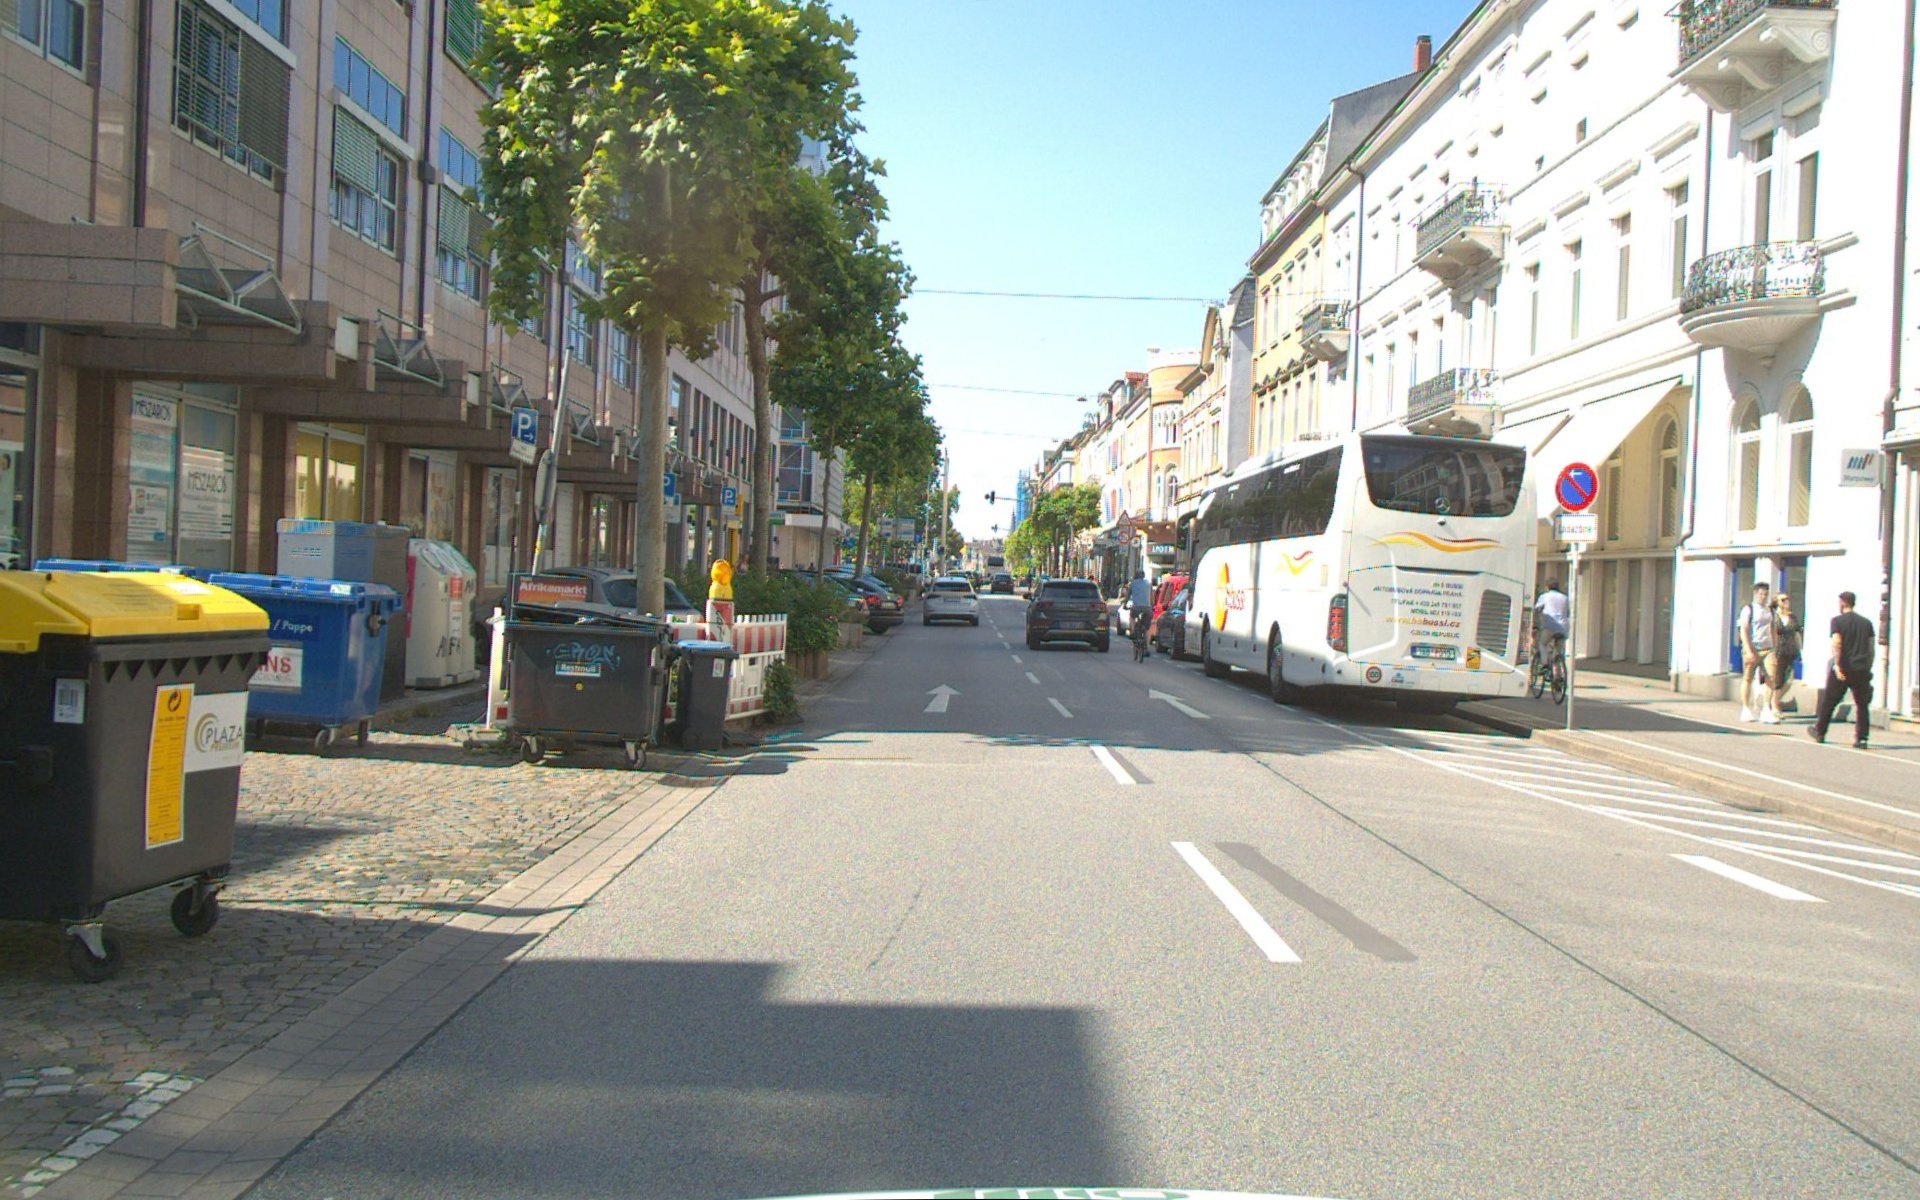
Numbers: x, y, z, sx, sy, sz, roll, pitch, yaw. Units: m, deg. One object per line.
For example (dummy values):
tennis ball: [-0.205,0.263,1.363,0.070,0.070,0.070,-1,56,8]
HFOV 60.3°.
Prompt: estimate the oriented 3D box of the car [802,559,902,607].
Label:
car: [-4.700,-0.746,72.140,3.911,1.594,1.698,7,1,25]

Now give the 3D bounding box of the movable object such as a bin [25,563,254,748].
movable object such as a bin: [-6.444,0.408,13.064,1.184,1.322,1.127,4,2,0]

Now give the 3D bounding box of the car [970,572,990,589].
car: [1.939,-1.890,159.011,1.825,1.466,3.999,1,-1,-1]

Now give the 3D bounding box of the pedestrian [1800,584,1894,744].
pedestrian: [10.032,0.714,18.735,0.607,1.750,0.835,2,-1,2]

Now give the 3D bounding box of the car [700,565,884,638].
car: [-4.258,0.013,41.429,4.675,1.559,1.978,4,2,43]

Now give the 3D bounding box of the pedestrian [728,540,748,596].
pedestrian: [-6.838,-0.981,50.924,0.555,1.686,0.635,1,1,-9]

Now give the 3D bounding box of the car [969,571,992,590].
car: [1.724,-1.617,140.036,1.825,1.466,3.999,1,-1,-1]

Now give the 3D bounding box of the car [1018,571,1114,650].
car: [2.333,0.215,37.270,1.796,1.553,4.000,4,0,0]

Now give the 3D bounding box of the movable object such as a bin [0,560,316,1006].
movable object such as a bin: [-3.440,0.617,6.483,1.100,1.475,1.440,4,2,6]

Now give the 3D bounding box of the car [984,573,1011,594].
car: [2.781,-1.211,122.229,1.825,1.466,4.000,2,1,-1]

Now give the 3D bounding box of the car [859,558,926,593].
car: [-4.872,-1.781,119.330,4.640,2.037,1.931,6,1,40]

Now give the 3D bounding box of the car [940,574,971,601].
car: [-0.292,-0.729,95.299,1.707,1.466,4.000,2,1,0]

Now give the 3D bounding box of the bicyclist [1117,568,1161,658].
bicyclist: [3.554,0.243,32.895,0.680,1.702,0.916,4,2,1]

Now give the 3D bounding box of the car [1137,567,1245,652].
car: [5.776,0.184,41.831,1.791,1.895,4.352,3,1,-4]

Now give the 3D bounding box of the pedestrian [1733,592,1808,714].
pedestrian: [11.224,0.723,22.918,0.632,1.645,0.822,2,-1,3]

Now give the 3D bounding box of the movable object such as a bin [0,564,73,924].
movable object such as a bin: [-4.540,0.584,6.587,1.100,1.475,1.440,4,2,6]

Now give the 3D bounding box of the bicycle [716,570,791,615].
bicycle: [-6.066,-0.224,48.608,2.023,1.150,0.618,5,0,1]

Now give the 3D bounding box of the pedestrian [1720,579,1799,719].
pedestrian: [10.648,0.646,22.052,0.561,1.809,1.020,2,-1,3]

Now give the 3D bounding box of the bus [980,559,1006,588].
bus: [4.188,-3.409,211.664,2.715,3.667,8.969,2,1,-3]

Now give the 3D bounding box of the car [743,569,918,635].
car: [-3.513,0.042,44.409,4.710,1.447,1.873,5,2,40]

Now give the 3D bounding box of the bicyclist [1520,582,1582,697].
bicyclist: [8.794,0.573,24.632,0.679,1.654,0.836,1,0,8]

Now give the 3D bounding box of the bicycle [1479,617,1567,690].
bicycle: [9.616,0.892,28.317,0.608,1.118,2.352,2,0,-2]

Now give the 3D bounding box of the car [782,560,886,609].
car: [-4.991,-0.623,65.746,3.910,1.525,1.716,6,1,-4]

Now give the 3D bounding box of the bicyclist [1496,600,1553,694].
bicyclist: [9.622,0.790,28.223,0.608,1.556,0.869,2,0,-2]

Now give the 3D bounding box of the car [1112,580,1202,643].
car: [5.568,0.283,47.290,1.777,1.491,4.579,4,2,-3]

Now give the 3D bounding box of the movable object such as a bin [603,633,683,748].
movable object such as a bin: [-2.771,0.779,14.492,0.488,0.955,0.556,1,1,16]

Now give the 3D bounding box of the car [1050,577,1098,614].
car: [4.998,-0.169,73.098,1.795,1.554,3.999,0,-1,0]

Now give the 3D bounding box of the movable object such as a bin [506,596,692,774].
movable object such as a bin: [-2.859,0.657,13.206,1.251,1.322,0.853,2,0,0]

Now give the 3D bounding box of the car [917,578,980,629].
car: [-0.394,0.087,52.300,1.825,1.466,3.999,2,1,-2]

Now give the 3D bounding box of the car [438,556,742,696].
car: [-4.948,0.289,21.848,3.986,1.520,1.924,4,2,41]

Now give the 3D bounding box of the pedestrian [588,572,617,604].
pedestrian: [-9.892,-0.329,45.750,0.554,0.822,0.774,7,1,0]

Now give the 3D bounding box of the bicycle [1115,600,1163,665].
bicycle: [3.537,0.625,32.751,0.651,1.139,2.244,4,2,0]

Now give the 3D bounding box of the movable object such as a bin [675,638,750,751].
movable object such as a bin: [-2.206,0.832,14.741,0.546,0.955,0.496,0,1,-26]

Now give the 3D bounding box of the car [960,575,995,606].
car: [0.866,-0.475,83.753,1.707,1.466,4.000,2,1,0]

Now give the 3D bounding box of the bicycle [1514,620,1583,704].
bicycle: [8.784,0.909,24.756,0.582,1.140,1.802,2,1,8]

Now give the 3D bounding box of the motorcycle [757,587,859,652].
motorcycle: [-3.090,0.385,33.582,1.871,1.190,0.760,3,1,21]

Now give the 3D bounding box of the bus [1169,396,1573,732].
bus: [5.678,-0.514,25.904,2.823,3.806,12.424,4,1,-1]

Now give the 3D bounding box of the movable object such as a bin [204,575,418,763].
movable object such as a bin: [-5.079,0.516,13.027,1.184,1.321,1.080,4,2,0]

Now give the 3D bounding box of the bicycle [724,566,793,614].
bicycle: [-6.185,-0.300,50.814,2.026,1.310,0.367,4,0,-8]

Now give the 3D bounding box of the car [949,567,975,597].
car: [0.137,-1.296,121.794,1.825,2.065,3.999,2,-1,-1]

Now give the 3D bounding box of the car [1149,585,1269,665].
car: [5.369,0.485,36.294,1.821,1.495,5.226,4,1,1]
